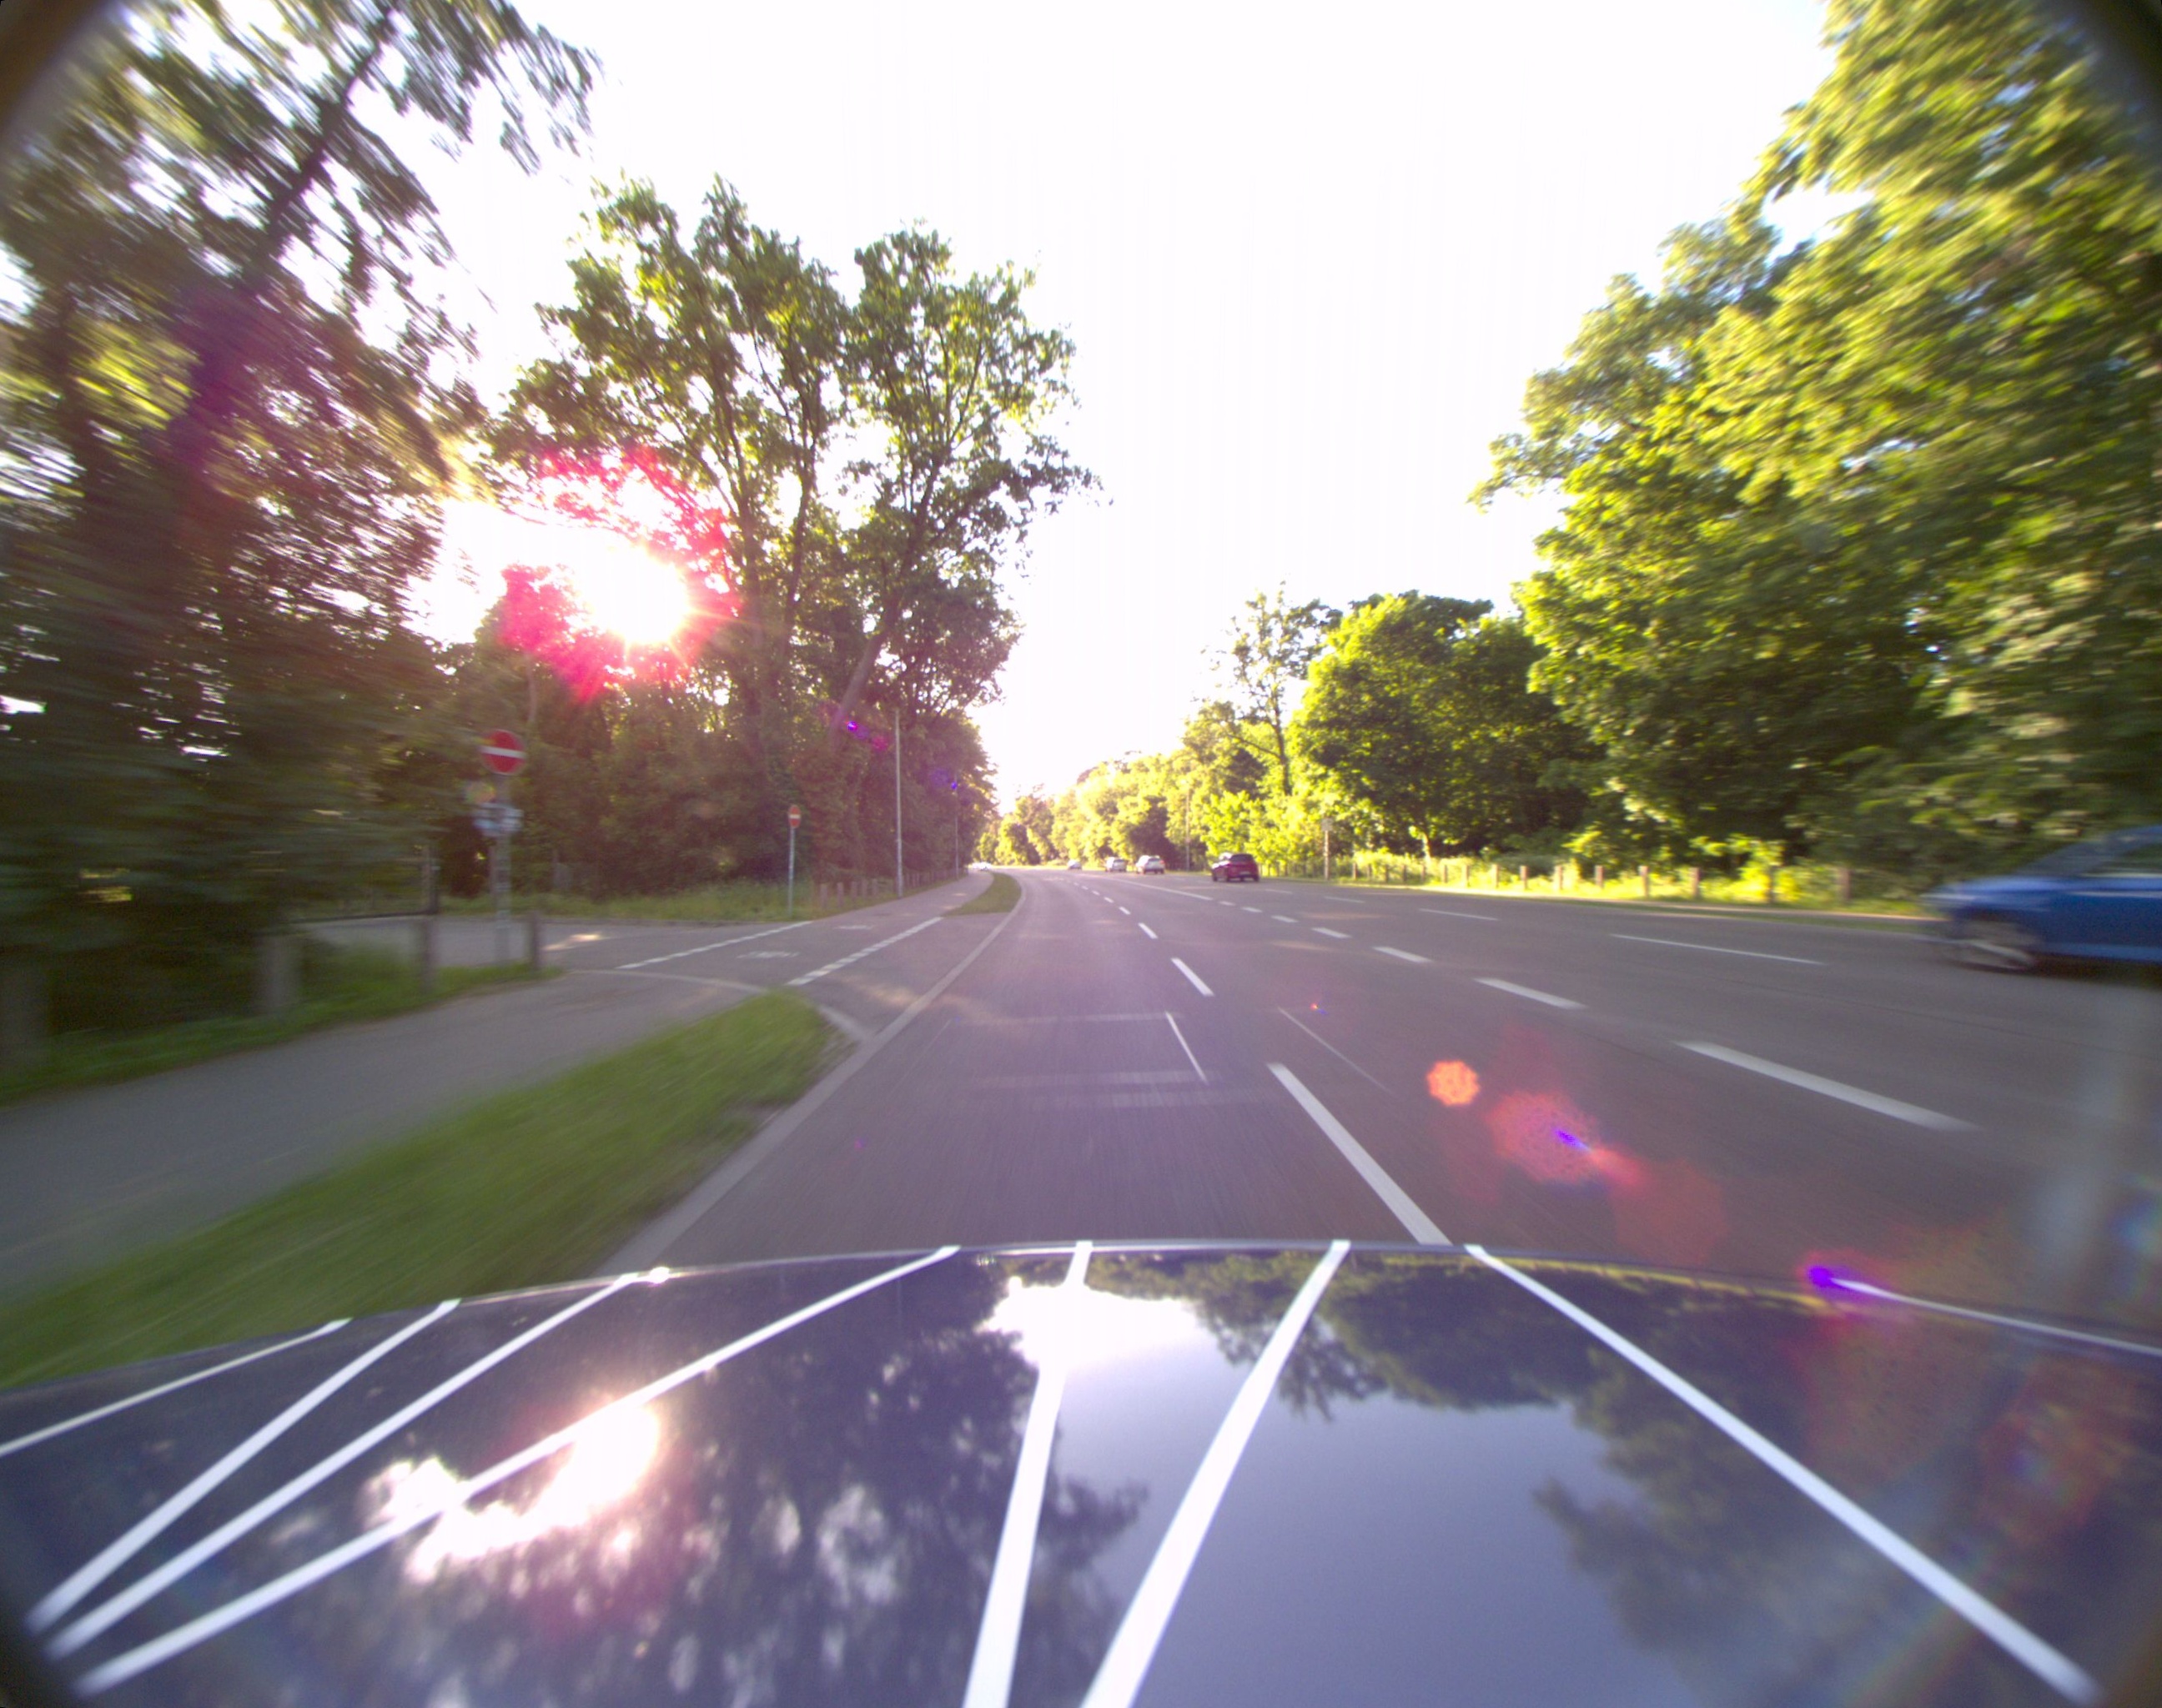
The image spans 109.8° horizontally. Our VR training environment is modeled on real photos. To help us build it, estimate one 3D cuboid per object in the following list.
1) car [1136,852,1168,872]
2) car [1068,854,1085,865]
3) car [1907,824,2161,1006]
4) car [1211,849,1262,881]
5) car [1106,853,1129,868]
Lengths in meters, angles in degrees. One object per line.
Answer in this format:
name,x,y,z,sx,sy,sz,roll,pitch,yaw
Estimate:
car,5.842,0.651,63.088,1.788,1.513,4.395,-2,0,-6
car,-0.710,0.836,110.815,1.785,1.400,4.163,-2,-1,-9
car,9.740,0.490,6.177,1.660,1.499,4.000,-1,0,-1
car,7.950,0.537,39.146,1.668,1.509,3.806,-1,0,-3
car,3.762,0.638,78.828,1.785,1.455,4.272,0,0,-6
